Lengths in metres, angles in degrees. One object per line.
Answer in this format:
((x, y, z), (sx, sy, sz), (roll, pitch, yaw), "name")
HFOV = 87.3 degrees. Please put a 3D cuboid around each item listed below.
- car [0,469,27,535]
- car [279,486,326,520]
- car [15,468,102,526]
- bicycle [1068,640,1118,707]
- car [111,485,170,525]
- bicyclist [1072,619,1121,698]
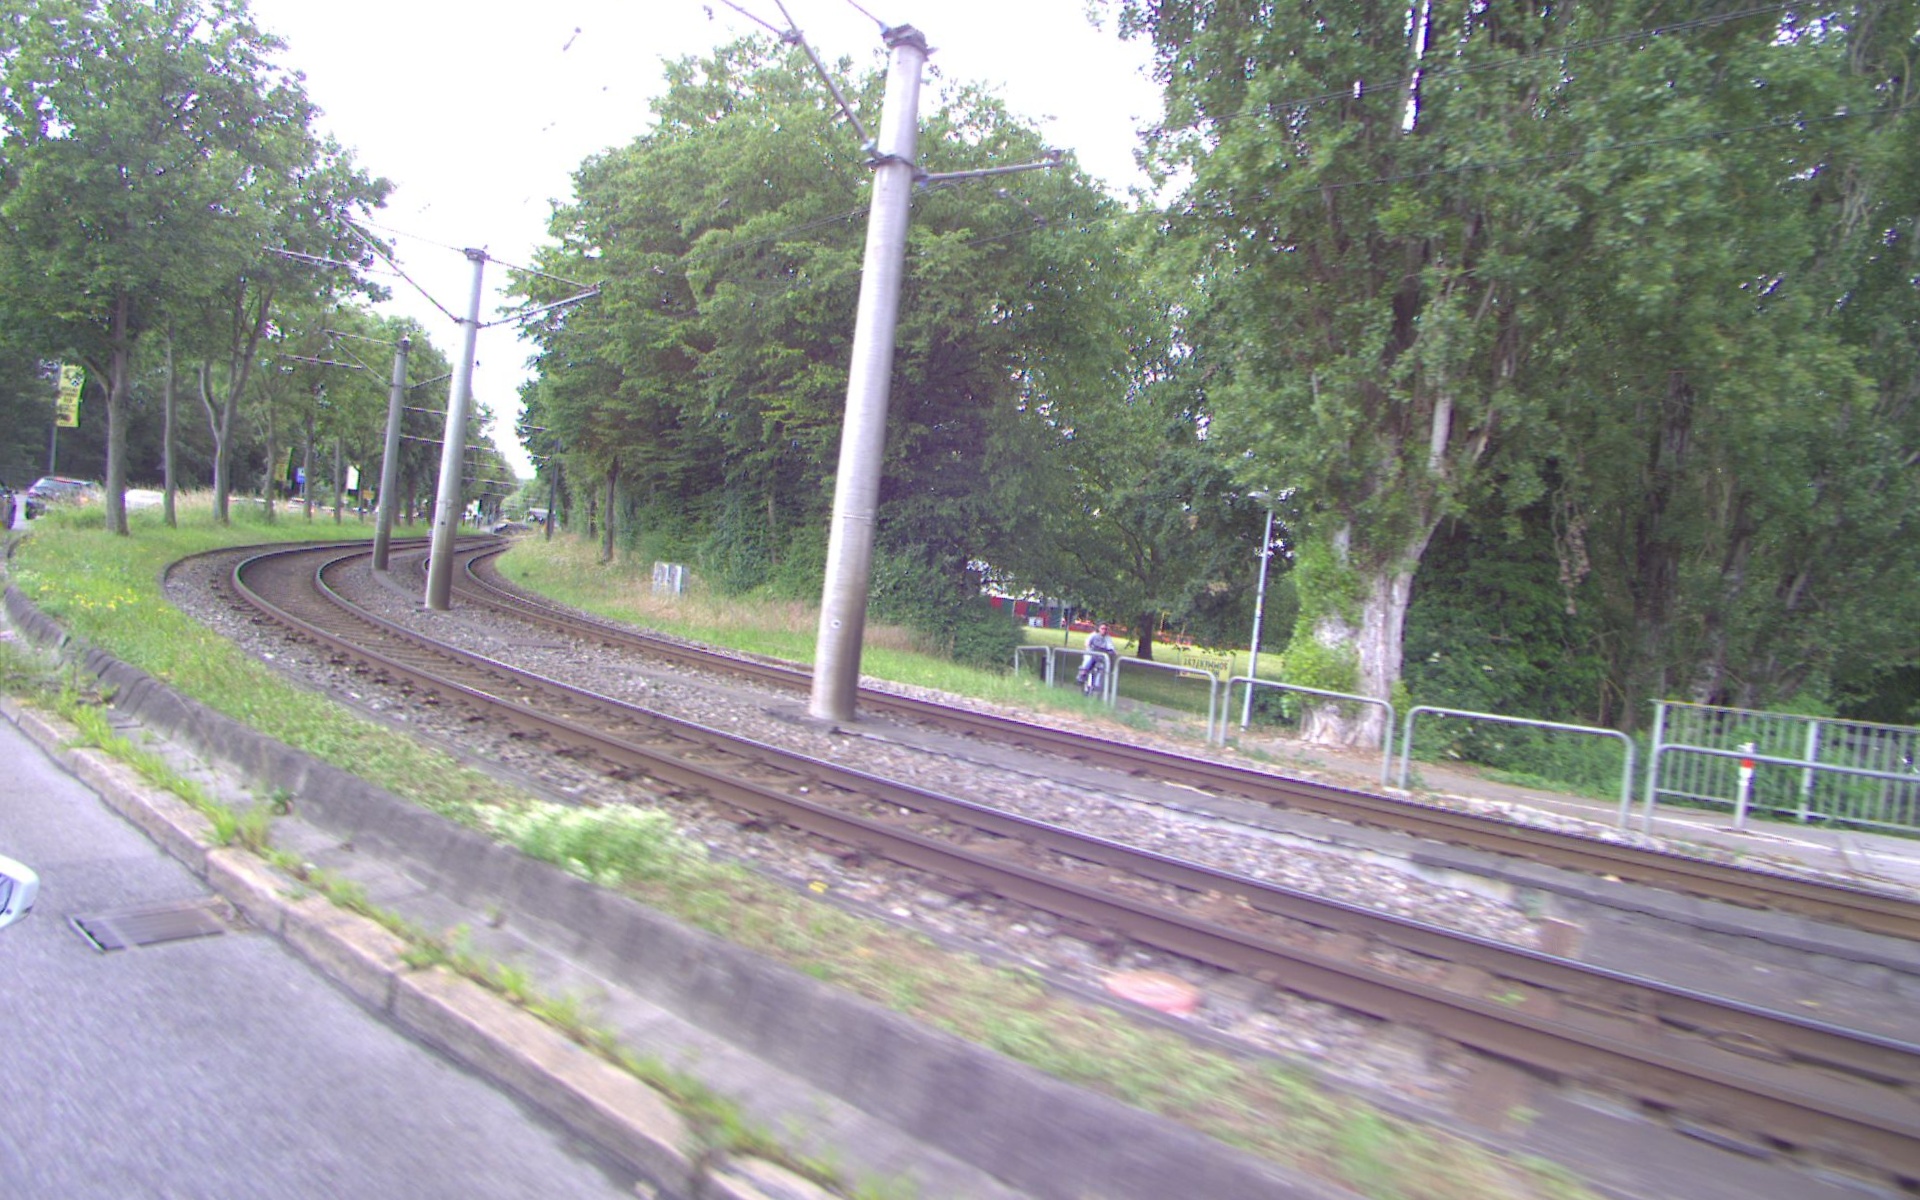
((-24.502, -2.533, 24.522), (1.882, 1.593, 3.962), (8, -1, -35), "car")
((-45.105, -6.649, 69.083), (1.909, 1.883, 3.977), (6, 0, -24), "car")
((-29.118, -3.291, 32.593), (1.569, 1.558, 3.961), (6, 1, -36), "car")
((2.458, 1.337, 18.764), (0.419, 1.063, 2.079), (8, 0, -2), "bicycle")
((-34.145, -3.924, 41.977), (1.490, 1.381, 3.554), (6, 1, -34), "car")
((2.550, 1.078, 18.838), (0.585, 1.377, 0.910), (8, 0, -2), "bicyclist")
